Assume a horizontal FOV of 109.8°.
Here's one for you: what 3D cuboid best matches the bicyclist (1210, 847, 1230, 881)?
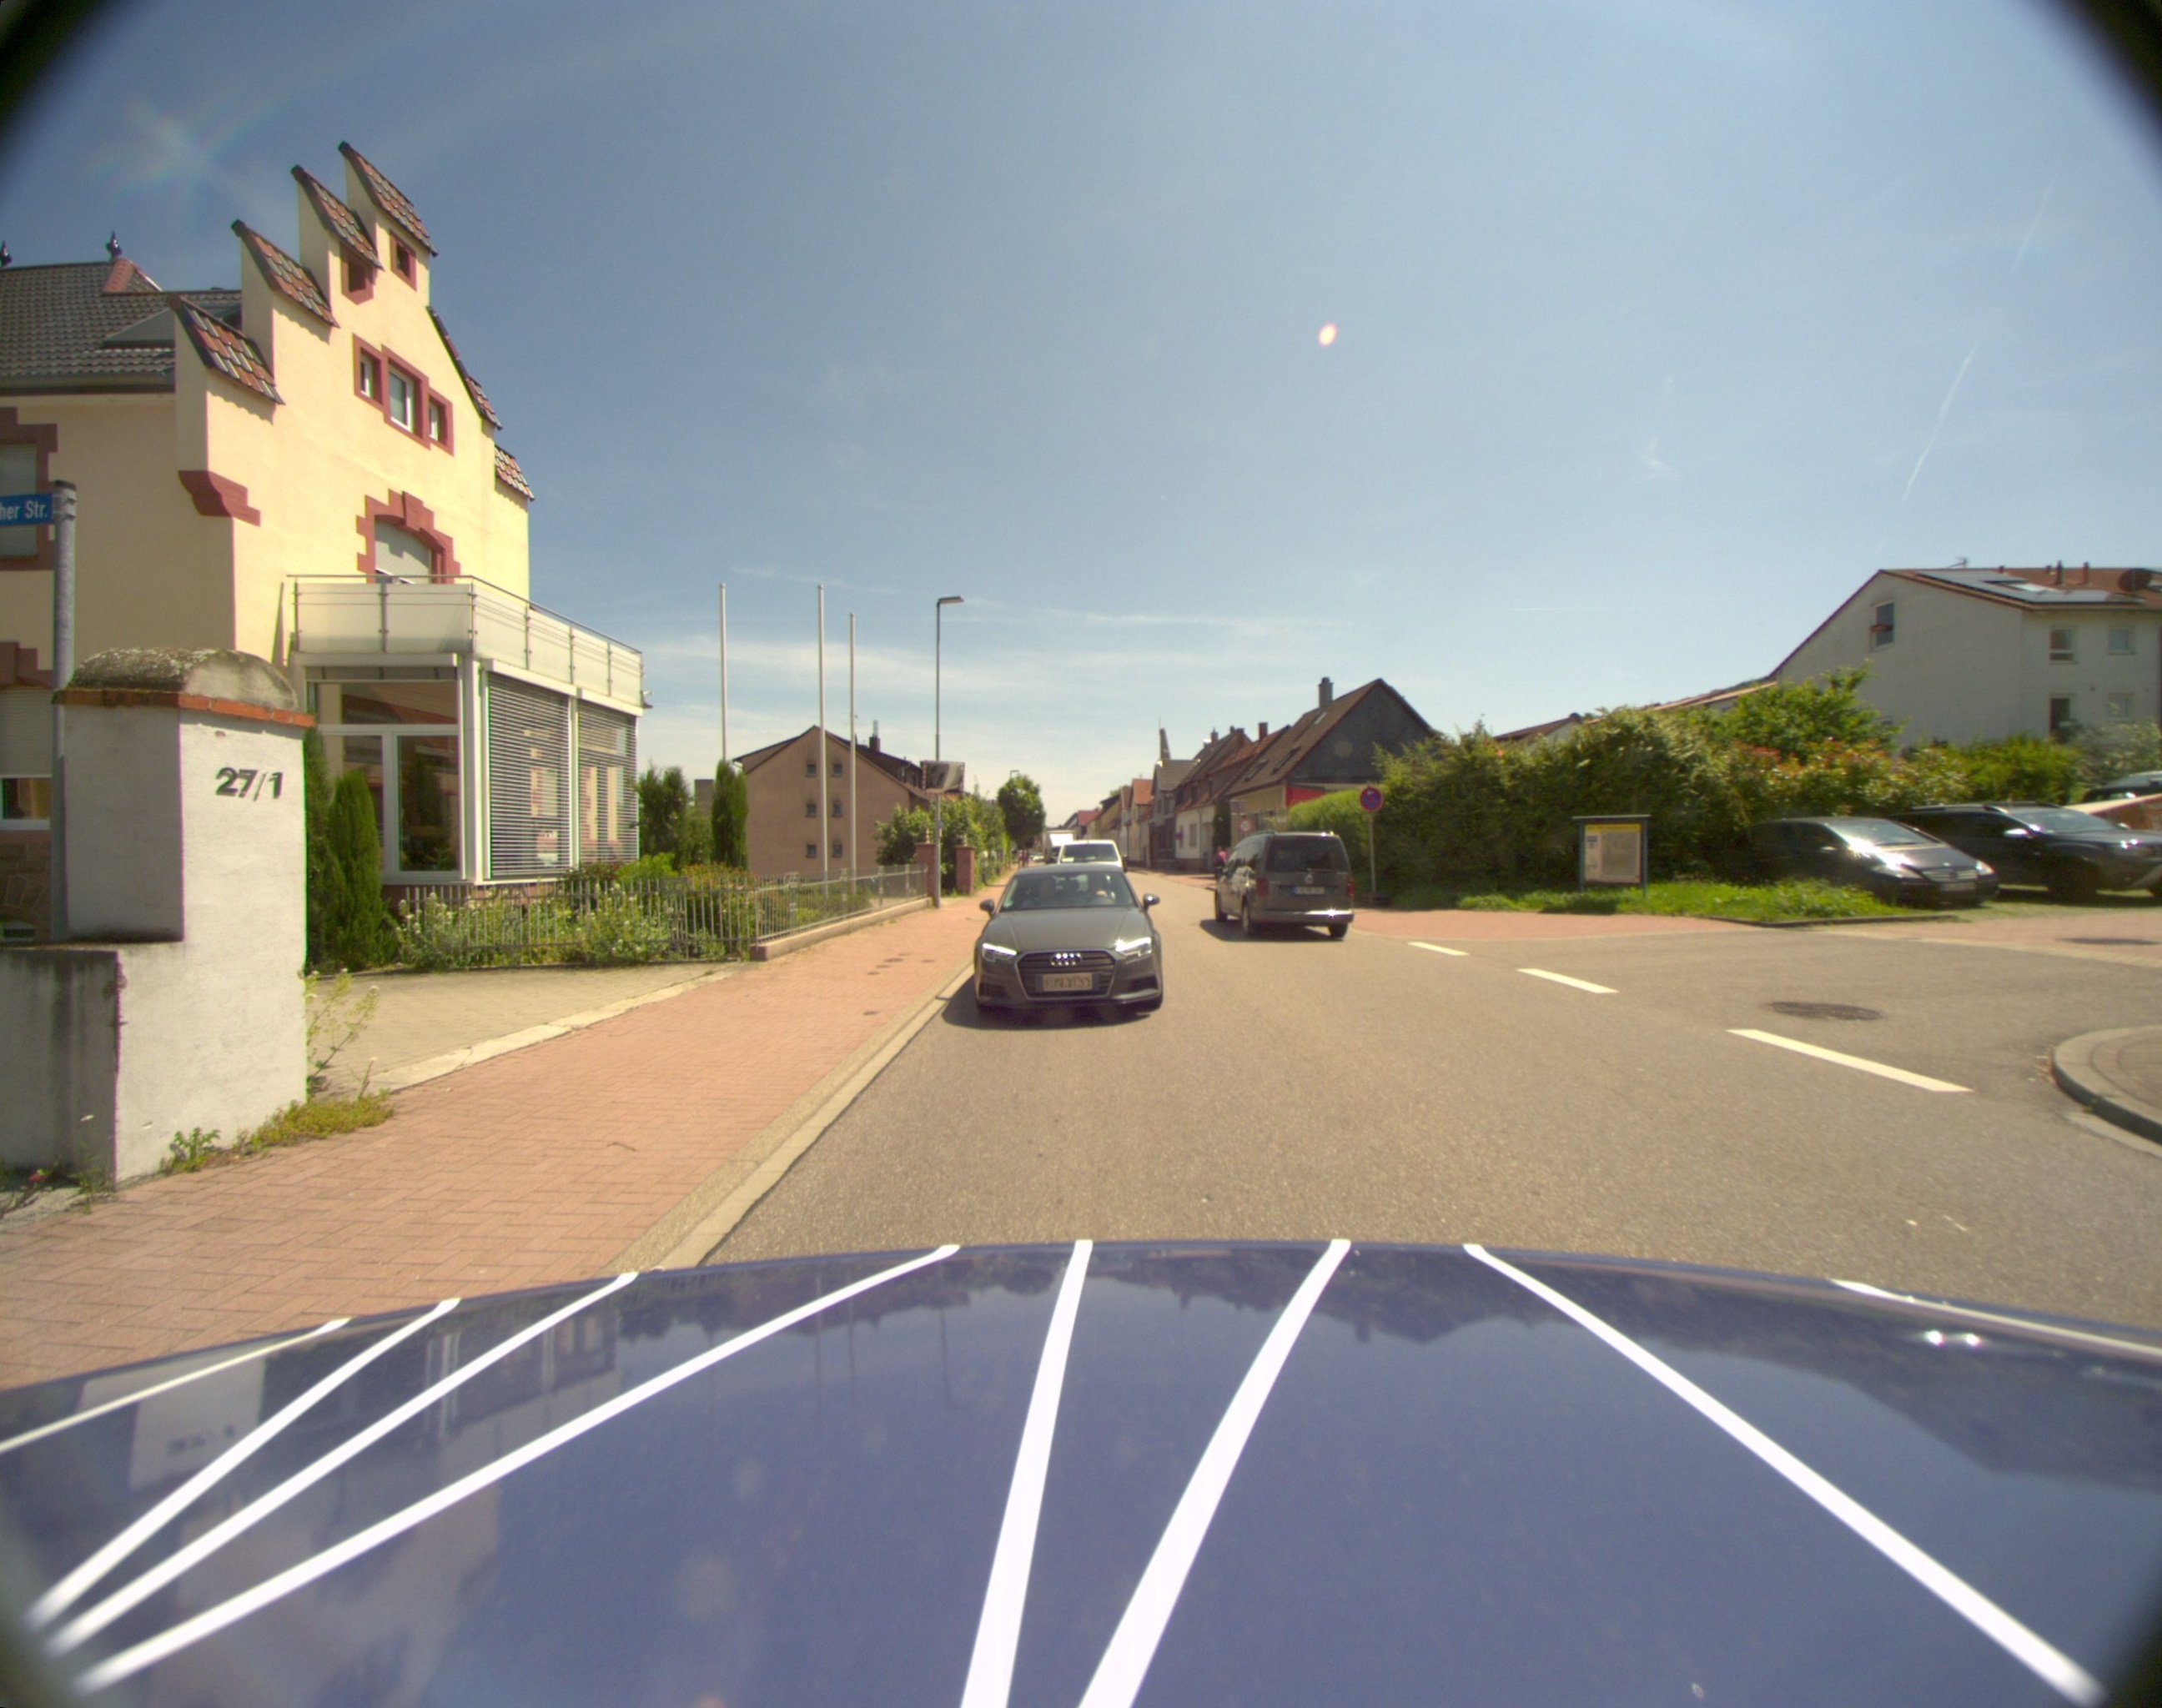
[{"bbox_3d":[6.286,0.438,34.437,0.660,1.485,0.909,-3,1,0],"label":"bicyclist"}]

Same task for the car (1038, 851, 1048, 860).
[{"bbox_3d":[-6.766,0.277,135.366,1.508,1.432,3.534,-3,1,-4],"label":"car"}]

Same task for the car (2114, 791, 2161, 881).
[{"bbox_3d":[21.951,-0.378,13.788,1.627,1.771,3.551,-3,1,4],"label":"car"}]

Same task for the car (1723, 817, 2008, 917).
[{"bbox_3d":[14.268,0.185,14.159,1.627,1.532,3.652,-3,1,4],"label":"car"}]

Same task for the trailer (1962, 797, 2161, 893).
[{"bbox_3d":[19.536,-0.192,14.824,1.430,1.654,2.691,-5,1,-4],"label":"trailer"}]

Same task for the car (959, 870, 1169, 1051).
[{"bbox_3d":[-0.151,0.930,8.329,1.705,1.346,3.999,-2,0,0],"label":"car"}]

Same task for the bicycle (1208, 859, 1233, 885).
[{"bbox_3d":[6.301,0.799,34.402,0.672,1.050,2.026,-3,1,0],"label":"bicycle"}]

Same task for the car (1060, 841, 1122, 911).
[{"bbox_3d":[0.222,0.563,22.005,1.637,1.833,3.569,-1,1,-1],"label":"car"}]

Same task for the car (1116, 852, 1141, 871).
[{"bbox_3d":[3.633,0.522,58.369,1.710,1.362,3.868,2,0,1],"label":"car"}]

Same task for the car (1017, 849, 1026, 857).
[{"bbox_3d":[-11.824,-0.203,151.462,1.637,1.572,3.568,1,0,-4],"label":"car"}]

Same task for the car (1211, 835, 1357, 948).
[{"bbox_3d":[3.691,0.594,14.598,1.660,1.844,4.464,0,0,1],"label":"car"}]

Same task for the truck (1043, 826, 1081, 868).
[{"bbox_3d":[-1.969,-0.648,71.542,2.899,3.516,12.947,-1,0,-4],"label":"truck"}]

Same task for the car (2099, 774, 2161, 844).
[{"bbox_3d":[28.481,-1.210,19.214,3.639,1.724,1.420,-3,1,-1],"label":"car"}]

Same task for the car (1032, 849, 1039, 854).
[{"bbox_3d":[-11.903,-0.656,198.491,1.508,1.432,3.534,-3,1,-4],"label":"car"}]

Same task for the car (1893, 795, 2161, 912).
[{"bbox_3d":[17.024,-0.057,13.448,1.627,1.769,3.511,-3,1,4],"label":"car"}]

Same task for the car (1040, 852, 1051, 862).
[{"bbox_3d":[-5.575,0.515,119.530,1.508,1.432,3.534,-3,1,-4],"label":"car"}]
